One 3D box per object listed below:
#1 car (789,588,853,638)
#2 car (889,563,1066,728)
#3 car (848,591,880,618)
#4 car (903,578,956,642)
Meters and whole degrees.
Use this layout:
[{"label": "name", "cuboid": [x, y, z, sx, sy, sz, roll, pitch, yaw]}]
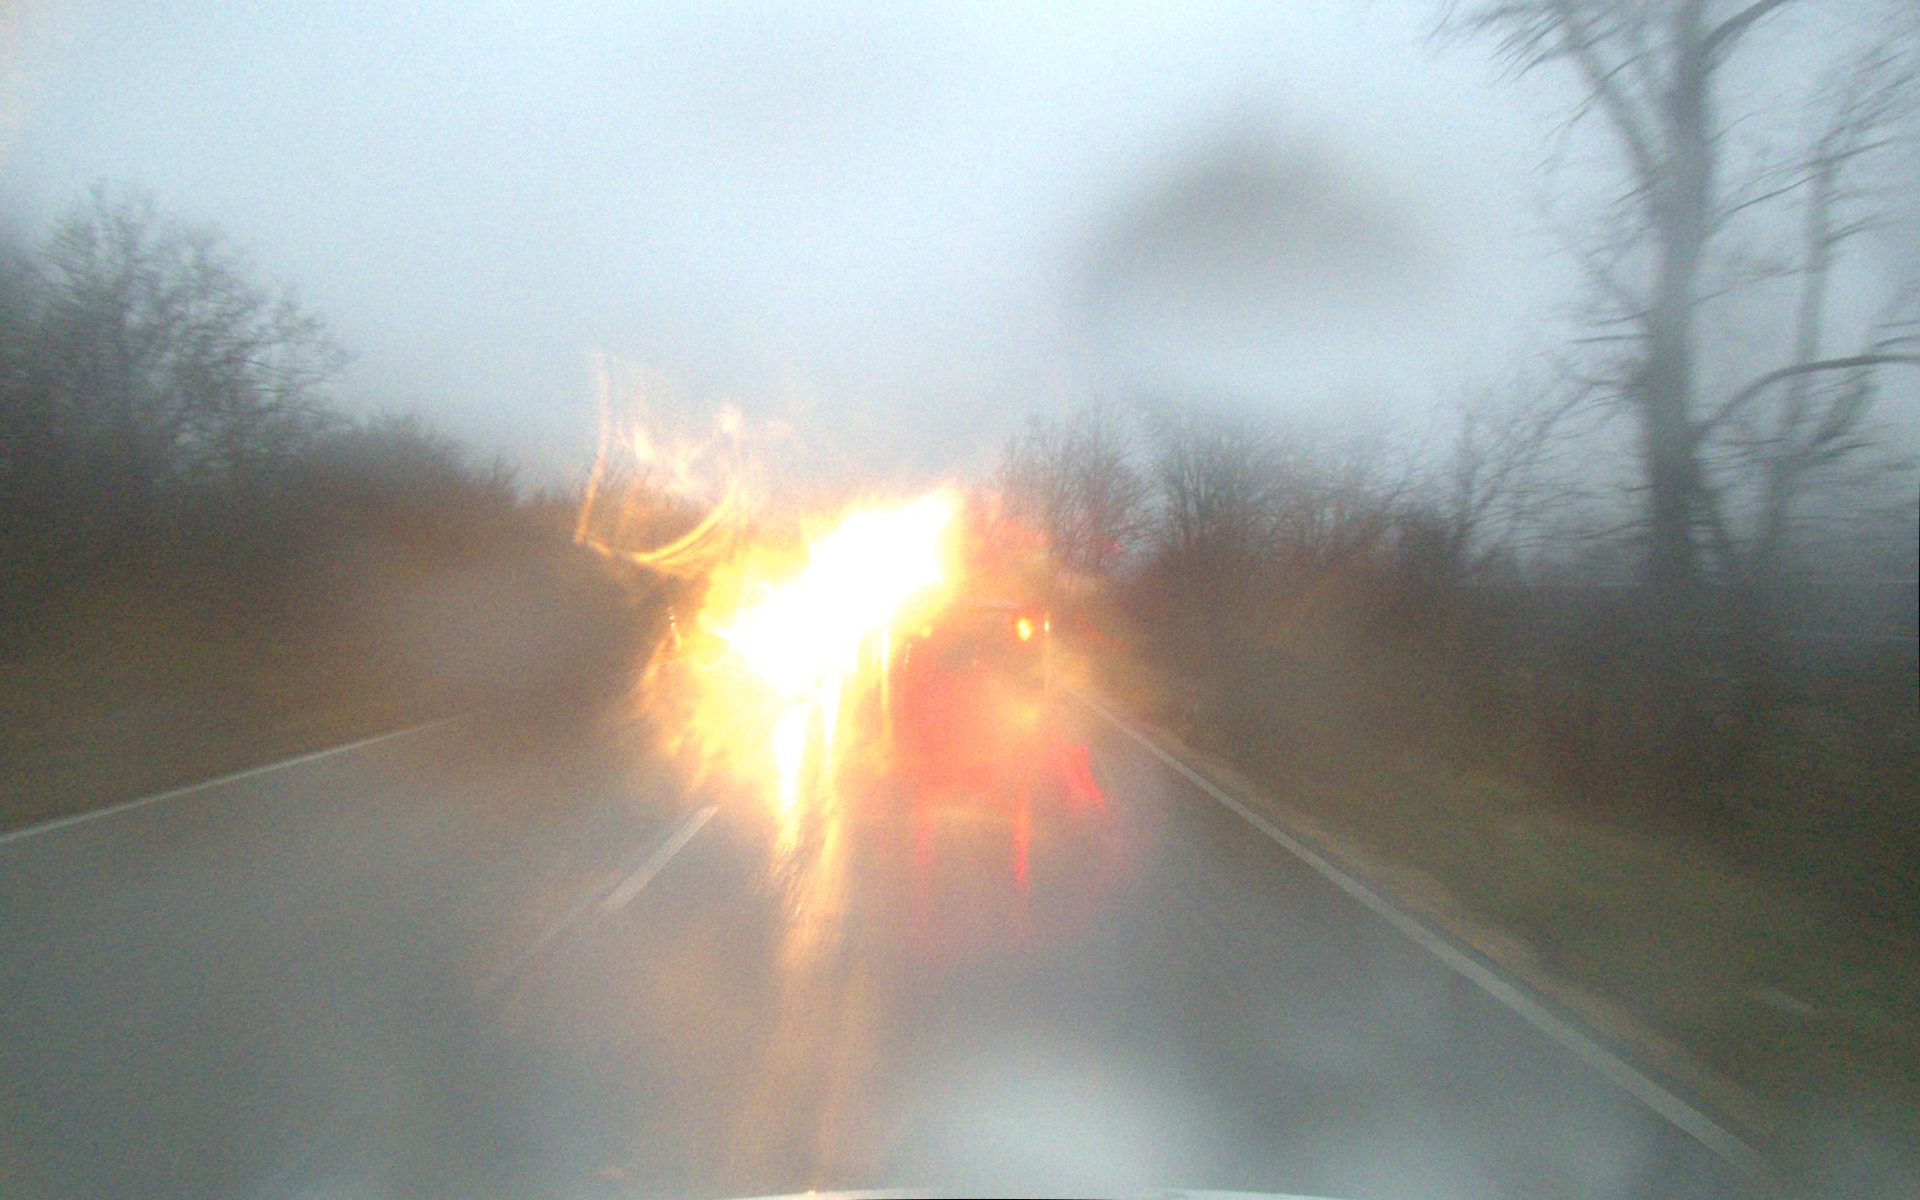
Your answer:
[{"label": "car", "cuboid": [-4.320, 0.382, 51.736, 1.715, 1.500, 3.890, 1, 0, -1]}, {"label": "car", "cuboid": [0.211, 0.505, 20.639, 1.953, 1.816, 4.000, 1, 0, 0]}, {"label": "car", "cuboid": [-5.543, 0.251, 95.938, 1.788, 1.525, 4.093, 1, 0, -2]}, {"label": "car", "cuboid": [-0.946, 0.301, 52.885, 1.542, 1.907, 3.709, 1, 0, 0]}]
